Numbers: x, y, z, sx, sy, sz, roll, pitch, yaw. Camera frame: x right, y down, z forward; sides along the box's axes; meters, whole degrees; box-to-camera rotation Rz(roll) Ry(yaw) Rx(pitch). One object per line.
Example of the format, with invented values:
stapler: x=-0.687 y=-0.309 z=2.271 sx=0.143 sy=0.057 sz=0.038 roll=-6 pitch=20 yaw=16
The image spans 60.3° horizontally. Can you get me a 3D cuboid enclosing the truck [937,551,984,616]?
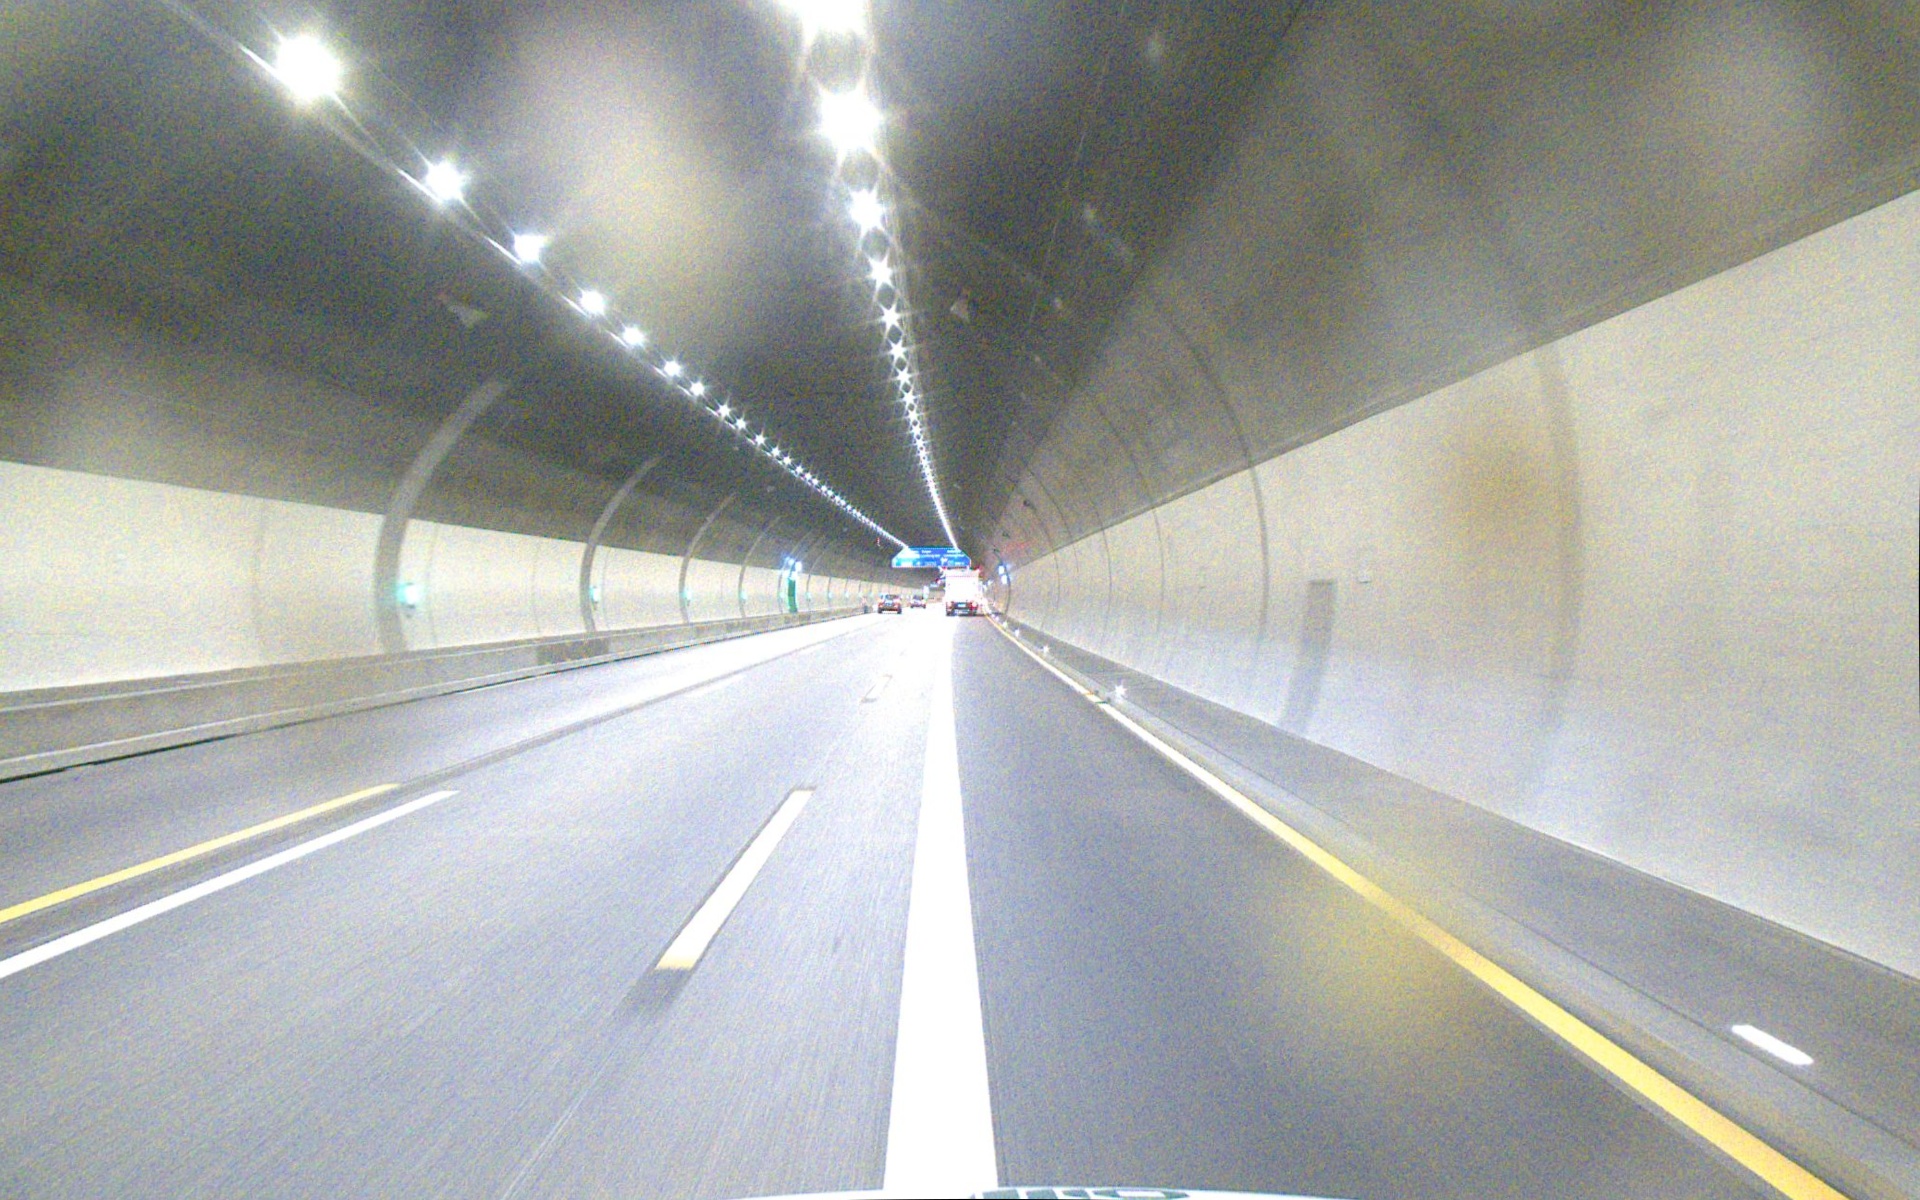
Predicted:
truck: x=-0.095 y=-1.266 z=132.011 sx=3.212 sy=4.731 sz=17.281 roll=-1 pitch=0 yaw=-2

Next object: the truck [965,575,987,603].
truck: x=2.324 y=-1.607 z=249.281 sx=2.863 sy=4.118 sz=14.026 roll=-1 pitch=0 yaw=-1

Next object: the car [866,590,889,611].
car: x=-6.578 y=0.041 z=131.870 sx=1.776 sy=1.646 sz=3.999 roll=1 pitch=0 yaw=-2

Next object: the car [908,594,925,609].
car: x=-4.974 y=0.193 z=187.369 sx=1.776 sy=1.546 sz=3.998 roll=1 pitch=2 yaw=-3
